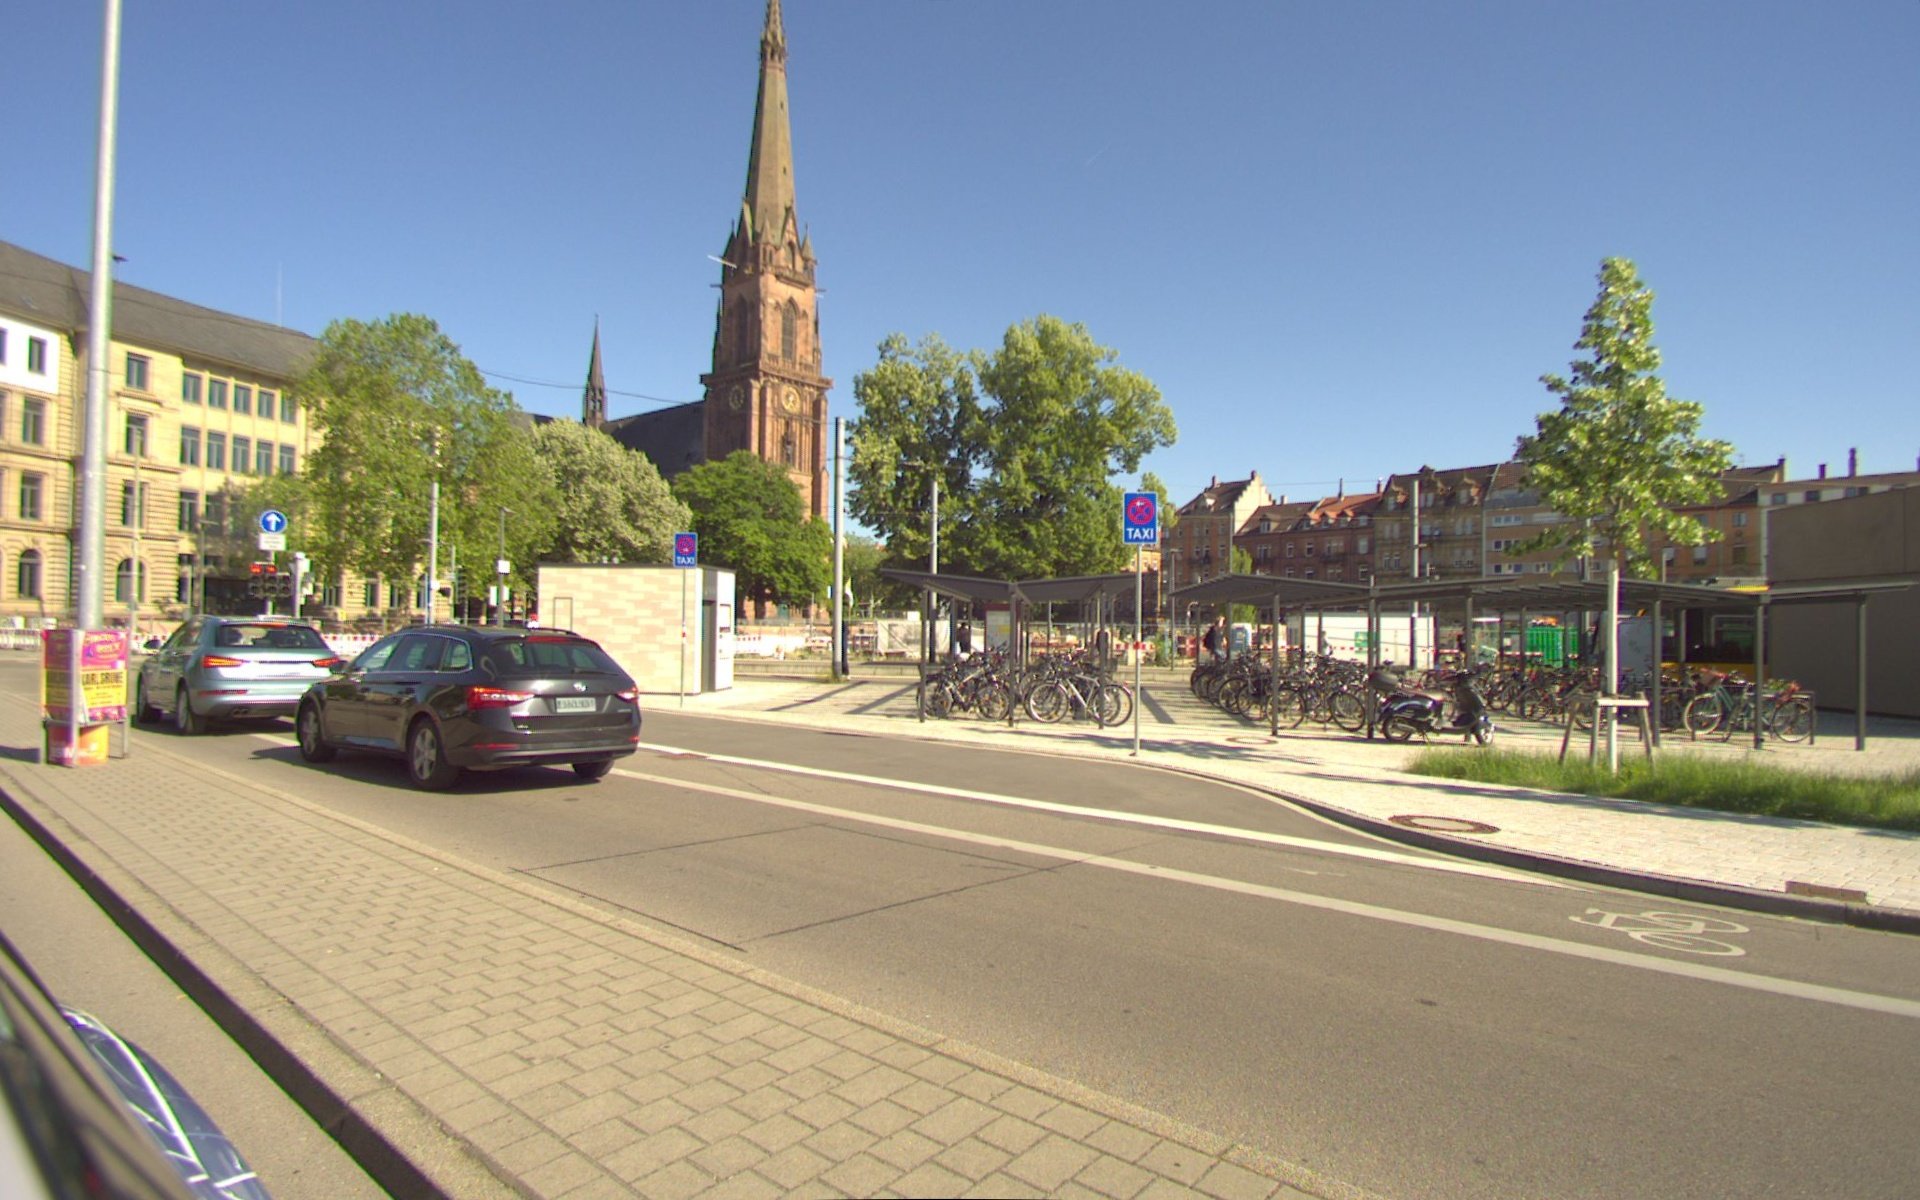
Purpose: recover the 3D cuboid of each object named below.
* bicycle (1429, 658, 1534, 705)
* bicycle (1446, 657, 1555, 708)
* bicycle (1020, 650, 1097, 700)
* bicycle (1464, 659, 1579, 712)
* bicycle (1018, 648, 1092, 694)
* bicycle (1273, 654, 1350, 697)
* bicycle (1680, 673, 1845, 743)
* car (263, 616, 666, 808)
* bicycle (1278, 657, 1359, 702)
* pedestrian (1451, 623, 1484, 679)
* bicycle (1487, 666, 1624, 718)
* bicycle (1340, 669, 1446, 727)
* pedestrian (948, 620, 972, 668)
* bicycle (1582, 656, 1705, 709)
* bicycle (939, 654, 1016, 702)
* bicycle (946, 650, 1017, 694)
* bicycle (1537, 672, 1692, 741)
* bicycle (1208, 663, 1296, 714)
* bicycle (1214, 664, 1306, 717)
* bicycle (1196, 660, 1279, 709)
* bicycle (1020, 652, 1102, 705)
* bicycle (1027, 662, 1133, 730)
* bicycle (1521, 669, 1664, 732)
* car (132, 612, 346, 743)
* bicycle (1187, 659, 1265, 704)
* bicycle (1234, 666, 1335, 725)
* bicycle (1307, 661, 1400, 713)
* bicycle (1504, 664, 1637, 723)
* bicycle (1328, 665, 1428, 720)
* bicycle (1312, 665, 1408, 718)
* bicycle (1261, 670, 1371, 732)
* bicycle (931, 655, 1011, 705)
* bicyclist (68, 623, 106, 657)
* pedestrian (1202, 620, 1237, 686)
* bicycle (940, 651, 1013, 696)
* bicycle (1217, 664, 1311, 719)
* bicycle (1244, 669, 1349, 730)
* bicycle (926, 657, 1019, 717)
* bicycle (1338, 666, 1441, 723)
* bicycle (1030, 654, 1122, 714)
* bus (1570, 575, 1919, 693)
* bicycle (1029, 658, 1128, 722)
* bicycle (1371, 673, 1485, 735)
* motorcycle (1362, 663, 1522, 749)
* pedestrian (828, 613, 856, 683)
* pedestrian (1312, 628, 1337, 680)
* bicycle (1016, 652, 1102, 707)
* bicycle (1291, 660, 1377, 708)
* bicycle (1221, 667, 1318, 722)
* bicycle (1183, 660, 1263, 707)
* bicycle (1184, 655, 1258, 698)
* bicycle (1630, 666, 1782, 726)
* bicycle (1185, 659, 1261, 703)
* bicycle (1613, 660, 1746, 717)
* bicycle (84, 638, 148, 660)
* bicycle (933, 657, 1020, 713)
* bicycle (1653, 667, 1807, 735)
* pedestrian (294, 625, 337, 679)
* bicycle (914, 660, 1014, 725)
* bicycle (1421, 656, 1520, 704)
[{"bbox_3d":[12.031,1.880,23.374,2.048,1.045,0.533,-1,-4,8],"label":"bicycle"},{"bbox_3d":[11.866,1.802,22.255,2.048,1.045,0.533,-1,2,8],"label":"bicycle"},{"bbox_3d":[2.272,1.732,23.498,1.755,1.083,0.406,1,0,6],"label":"bicycle"},{"bbox_3d":[11.776,1.796,21.264,2.048,1.045,0.533,-1,2,8],"label":"bicycle"},{"bbox_3d":[2.314,1.724,24.677,1.755,1.083,0.406,1,0,6],"label":"bicycle"},{"bbox_3d":[8.291,1.786,23.915,1.661,0.980,0.406,-1,0,3],"label":"bicycle"},{"bbox_3d":[12.767,1.715,16.138,2.048,1.045,0.533,-1,0,8],"label":"bicycle"},{"bbox_3d":[-5.182,0.985,10.278,4.779,1.516,1.795,-1,-4,39],"label":"car"},{"bbox_3d":[8.073,1.789,22.838,1.661,0.980,0.406,-1,0,3],"label":"bicycle"},{"bbox_3d":[17.791,1.778,35.484,0.793,1.931,0.769,0,-2,4],"label":"pedestrian"},{"bbox_3d":[11.614,1.799,19.790,2.208,0.951,0.685,-1,0,7],"label":"bicycle"},{"bbox_3d":[7.643,1.726,17.892,1.661,0.980,0.406,-1,0,3],"label":"bicycle"},{"bbox_3d":[-0.001,1.700,39.258,0.610,1.874,0.703,2,-2,-39],"label":"pedestrian"},{"bbox_3d":[14.078,1.697,20.877,2.048,1.045,0.533,-1,0,8],"label":"bicycle"},{"bbox_3d":[0.384,1.706,22.284,1.663,1.006,0.406,0,0,8],"label":"bicycle"},{"bbox_3d":[0.517,1.703,24.187,1.663,1.006,0.406,0,0,8],"label":"bicycle"},{"bbox_3d":[10.572,1.712,16.389,2.048,1.045,0.533,-1,0,8],"label":"bicycle"},{"bbox_3d":[5.925,1.786,20.564,1.661,0.980,0.406,1,-5,3],"label":"bicycle"},{"bbox_3d":[5.901,1.782,19.958,1.661,0.980,0.406,1,0,3],"label":"bicycle"},{"bbox_3d":[5.925,1.806,21.640,1.661,0.980,0.406,1,-5,3],"label":"bicycle"},{"bbox_3d":[2.193,1.695,22.028,1.755,1.083,0.406,1,0,6],"label":"bicycle"},{"bbox_3d":[2.022,1.607,17.092,1.753,1.083,0.406,1,-3,6],"label":"bicycle"},{"bbox_3d":[10.994,1.738,17.636,2.048,1.045,0.533,-1,0,8],"label":"bicycle"},{"bbox_3d":[-10.407,1.037,14.481,1.767,1.594,4.260,4,-4,-45],"label":"car"},{"bbox_3d":[6.053,1.861,23.051,1.661,0.980,0.406,1,-5,3],"label":"bicycle"},{"bbox_3d":[5.815,1.710,18.188,1.661,0.980,0.406,1,0,3],"label":"bicycle"},{"bbox_3d":[7.857,1.731,20.229,1.661,0.980,0.406,-1,0,3],"label":"bicycle"},{"bbox_3d":[11.322,1.734,18.812,2.048,1.045,0.533,-1,0,8],"label":"bicycle"},{"bbox_3d":[7.842,1.731,19.013,1.661,0.980,0.406,-1,0,3],"label":"bicycle"},{"bbox_3d":[7.716,1.764,19.529,1.661,0.980,0.406,-1,0,3],"label":"bicycle"},{"bbox_3d":[5.933,1.686,16.889,1.661,0.980,0.406,-1,0,3],"label":"bicycle"},{"bbox_3d":[0.229,1.677,21.404,1.663,1.006,0.406,0,0,8],"label":"bicycle"},{"bbox_3d":[-40.717,1.853,47.213,1.125,1.552,0.684,1,-2,-14],"label":"bicyclist"},{"bbox_3d":[7.036,1.427,27.470,0.823,1.740,0.620,0,-2,4],"label":"pedestrian"},{"bbox_3d":[0.393,1.702,23.662,1.663,1.006,0.406,0,0,8],"label":"bicycle"},{"bbox_3d":[5.814,1.738,19.375,1.661,0.980,0.406,1,0,3],"label":"bicycle"},{"bbox_3d":[5.793,1.710,17.463,1.661,0.980,0.406,1,0,3],"label":"bicycle"},{"bbox_3d":[0.231,1.598,18.601,1.663,1.006,0.406,2,0,8],"label":"bicycle"},{"bbox_3d":[7.823,1.723,18.460,1.661,0.980,0.406,-1,0,3],"label":"bicycle"},{"bbox_3d":[2.235,1.621,19.582,1.755,1.083,0.406,1,0,6],"label":"bicycle"},{"bbox_3d":[24.951,0.947,28.306,13.462,3.095,2.859,0,-2,6],"label":"bus"},{"bbox_3d":[2.139,1.618,18.337,1.753,1.083,0.406,1,0,6],"label":"bicycle"},{"bbox_3d":[7.768,1.724,16.821,1.661,0.980,0.406,-1,0,3],"label":"bicycle"},{"bbox_3d":[7.193,1.571,15.159,2.059,1.228,0.569,-1,-2,3],"label":"motorcycle"},{"bbox_3d":[-3.189,1.285,27.389,0.692,1.874,0.620,0,-2,0],"label":"pedestrian"},{"bbox_3d":[14.372,2.114,39.956,0.793,2.029,0.535,0,-2,4],"label":"pedestrian"},{"bbox_3d":[2.052,1.643,20.973,1.755,1.083,0.406,1,0,6],"label":"bicycle"},{"bbox_3d":[7.988,1.790,21.623,1.661,0.980,0.406,-1,0,3],"label":"bicycle"},{"bbox_3d":[5.728,1.751,18.768,1.661,0.980,0.406,-1,0,3],"label":"bicycle"},{"bbox_3d":[5.786,1.838,22.296,1.661,0.980,0.406,1,-5,3],"label":"bicycle"},{"bbox_3d":[6.256,1.837,24.311,1.661,0.980,0.406,1,-5,3],"label":"bicycle"},{"bbox_3d":[13.478,1.730,18.330,2.117,1.005,0.690,-1,0,7],"label":"bicycle"},{"bbox_3d":[6.137,1.882,23.624,1.661,0.980,0.406,1,-5,3],"label":"bicycle"},{"bbox_3d":[13.852,1.700,19.525,2.048,1.045,0.533,-1,0,8],"label":"bicycle"},{"bbox_3d":[-39.551,2.308,47.471,2.205,0.988,0.696,1,-2,-14],"label":"bicycle"},{"bbox_3d":[0.328,1.665,19.945,1.663,1.006,0.406,2,0,8],"label":"bicycle"},{"bbox_3d":[12.989,1.697,17.115,2.030,1.087,0.604,-1,0,7],"label":"bicycle"},{"bbox_3d":[-20.412,1.628,32.076,0.626,1.680,0.926,0,-2,21],"label":"pedestrian"},{"bbox_3d":[0.067,1.575,17.382,1.663,1.006,0.406,2,0,8],"label":"bicycle"},{"bbox_3d":[12.300,1.920,24.429,2.048,1.045,0.533,1,3,8],"label":"bicycle"}]
